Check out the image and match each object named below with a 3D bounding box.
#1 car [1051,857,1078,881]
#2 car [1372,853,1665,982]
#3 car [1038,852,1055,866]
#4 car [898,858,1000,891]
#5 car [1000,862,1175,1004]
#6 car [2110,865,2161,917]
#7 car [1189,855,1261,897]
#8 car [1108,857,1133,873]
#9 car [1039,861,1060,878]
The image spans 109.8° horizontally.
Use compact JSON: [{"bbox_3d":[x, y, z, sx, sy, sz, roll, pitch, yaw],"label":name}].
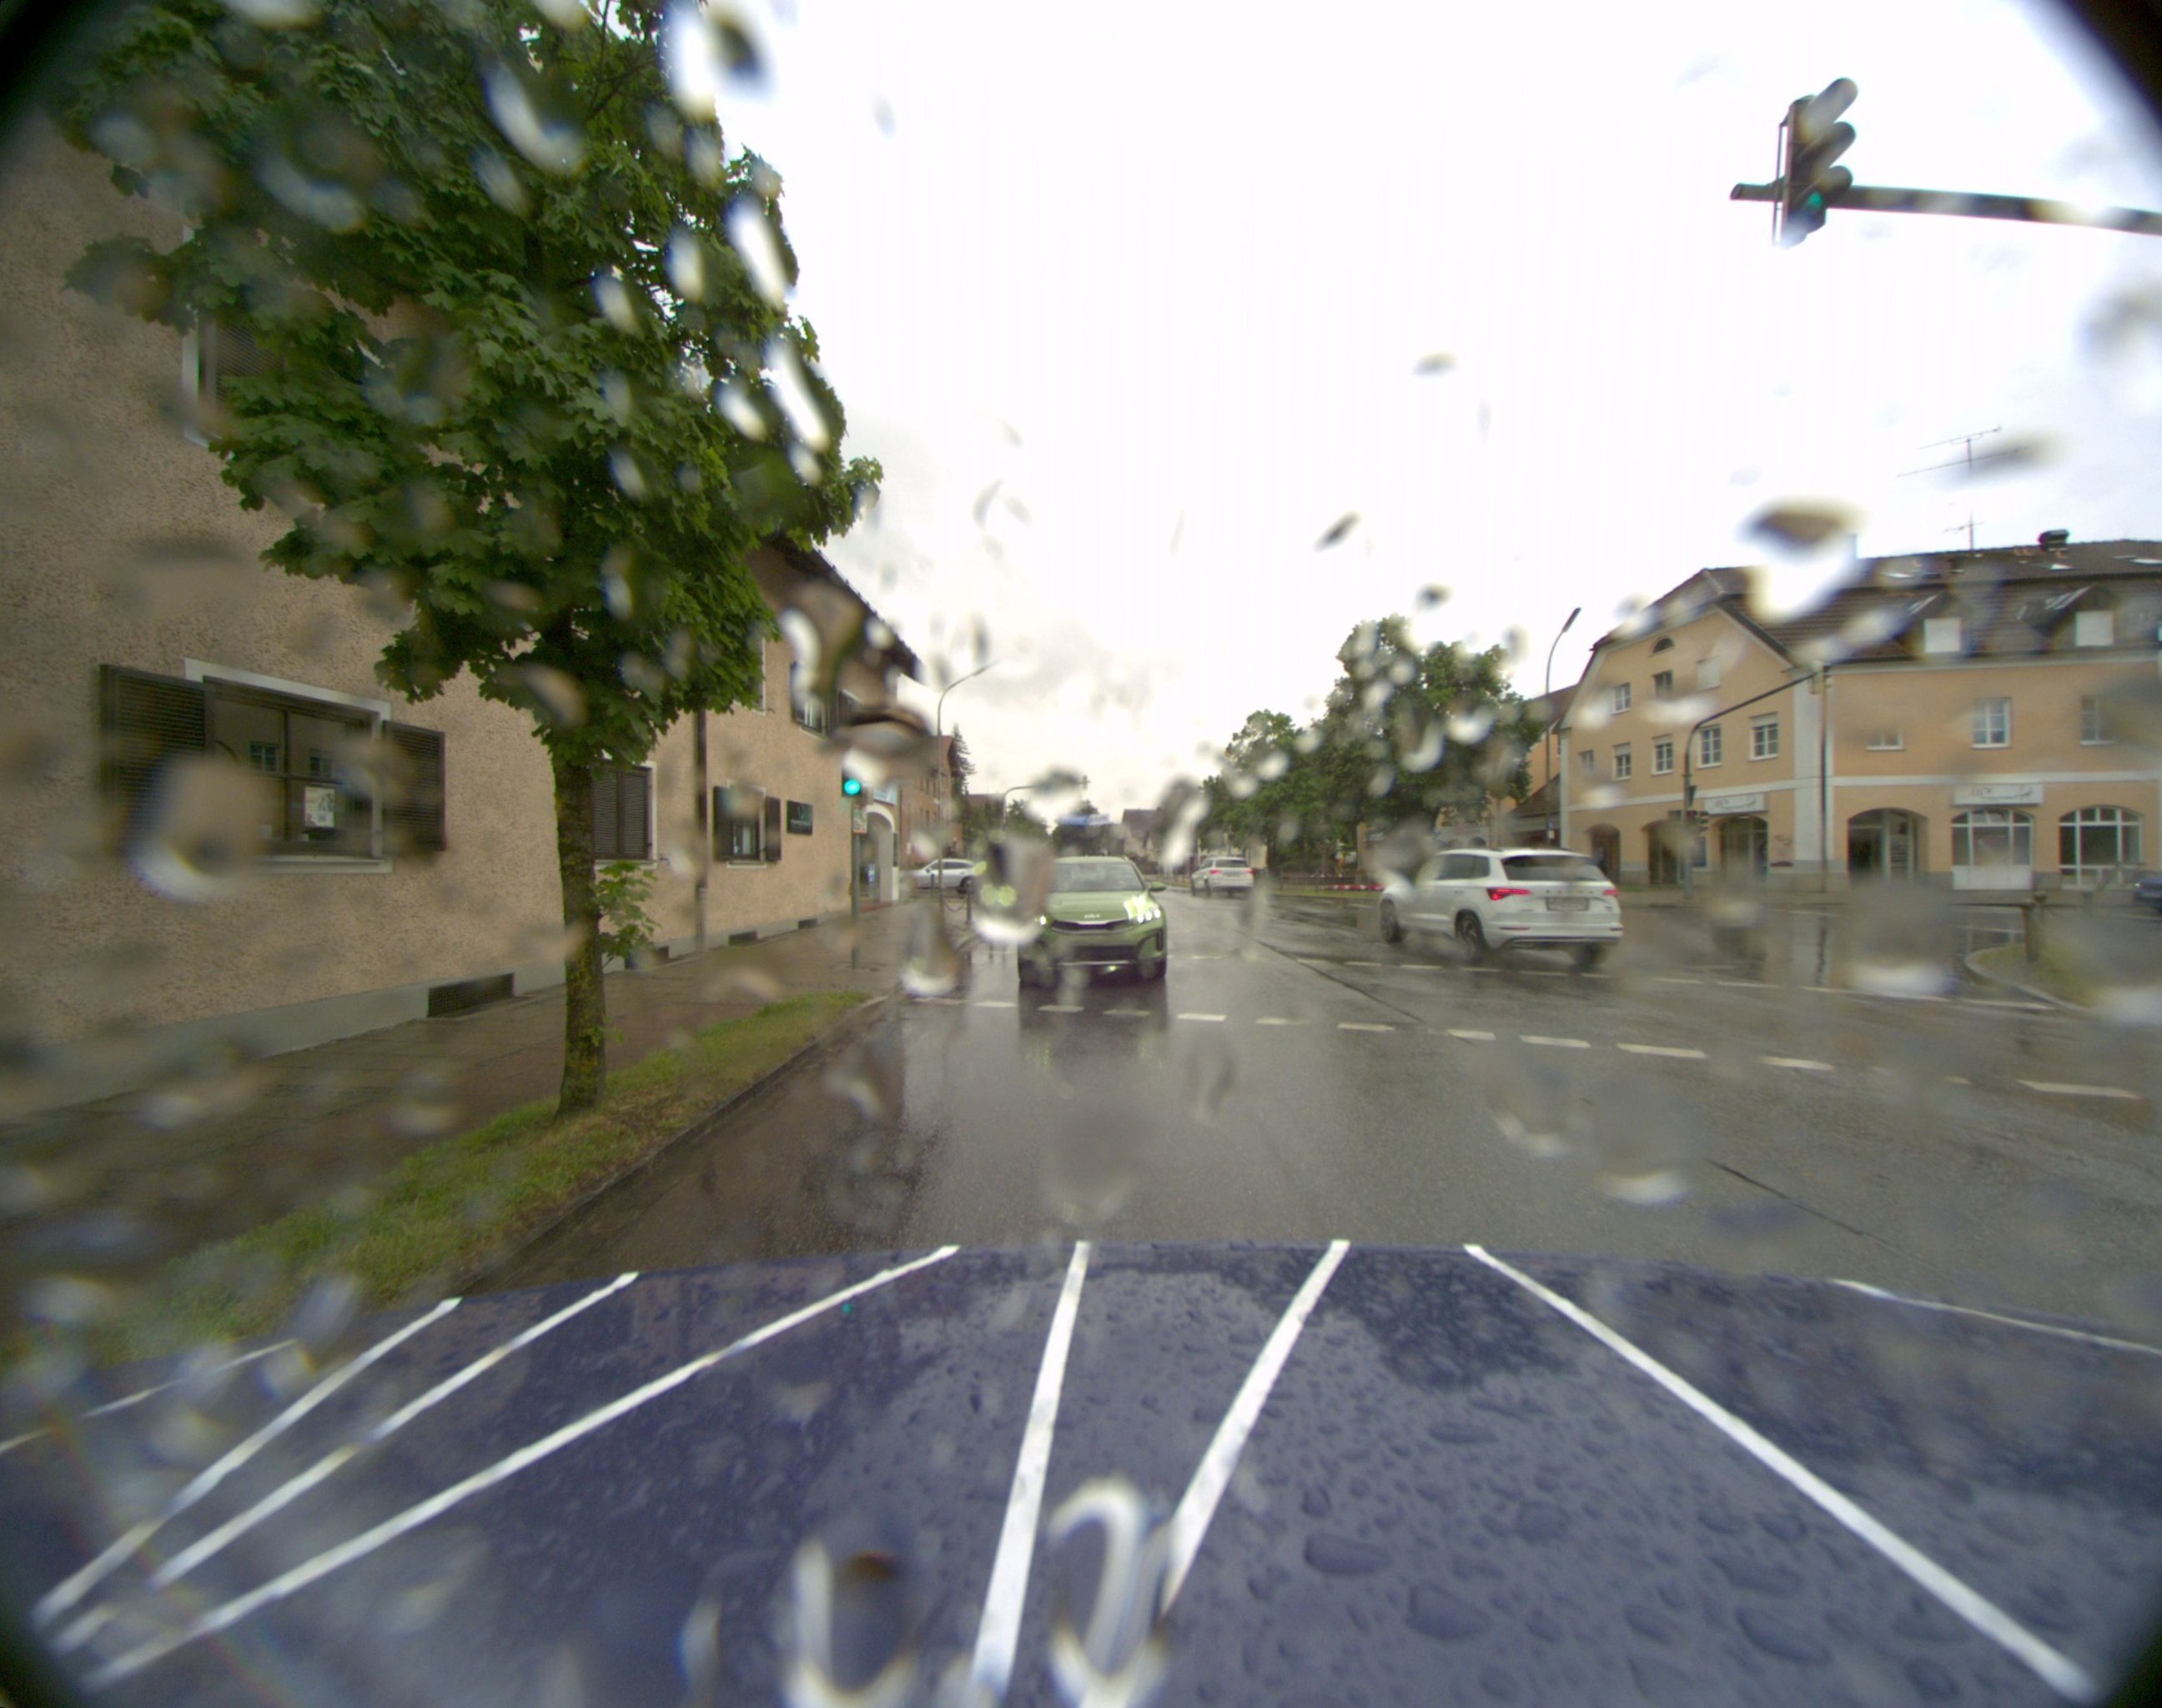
[{"bbox_3d":[-1.043,0.936,50.350,1.637,1.508,4.000,1,0,0],"label":"car"},{"bbox_3d":[6.123,0.774,11.312,1.932,1.557,4.125,0,0,-1],"label":"car"},{"bbox_3d":[-4.956,0.715,108.974,2.218,1.977,4.952,1,0,-5],"label":"car"},{"bbox_3d":[-6.328,0.964,36.419,4.615,1.489,1.733,0,0,-20],"label":"car"},{"bbox_3d":[0.098,0.892,10.402,1.872,1.504,4.105,-2,0,1],"label":"car"},{"bbox_3d":[27.161,0.857,17.284,4.352,1.178,1.691,0,0,15],"label":"car"},{"bbox_3d":[5.785,0.852,31.057,1.972,1.553,4.150,0,0,-3],"label":"car"},{"bbox_3d":[3.713,1.011,72.022,1.921,1.524,3.898,0,0,-2],"label":"car"},{"bbox_3d":[-3.009,1.469,73.551,1.839,1.508,4.669,1,0,0],"label":"car"}]
